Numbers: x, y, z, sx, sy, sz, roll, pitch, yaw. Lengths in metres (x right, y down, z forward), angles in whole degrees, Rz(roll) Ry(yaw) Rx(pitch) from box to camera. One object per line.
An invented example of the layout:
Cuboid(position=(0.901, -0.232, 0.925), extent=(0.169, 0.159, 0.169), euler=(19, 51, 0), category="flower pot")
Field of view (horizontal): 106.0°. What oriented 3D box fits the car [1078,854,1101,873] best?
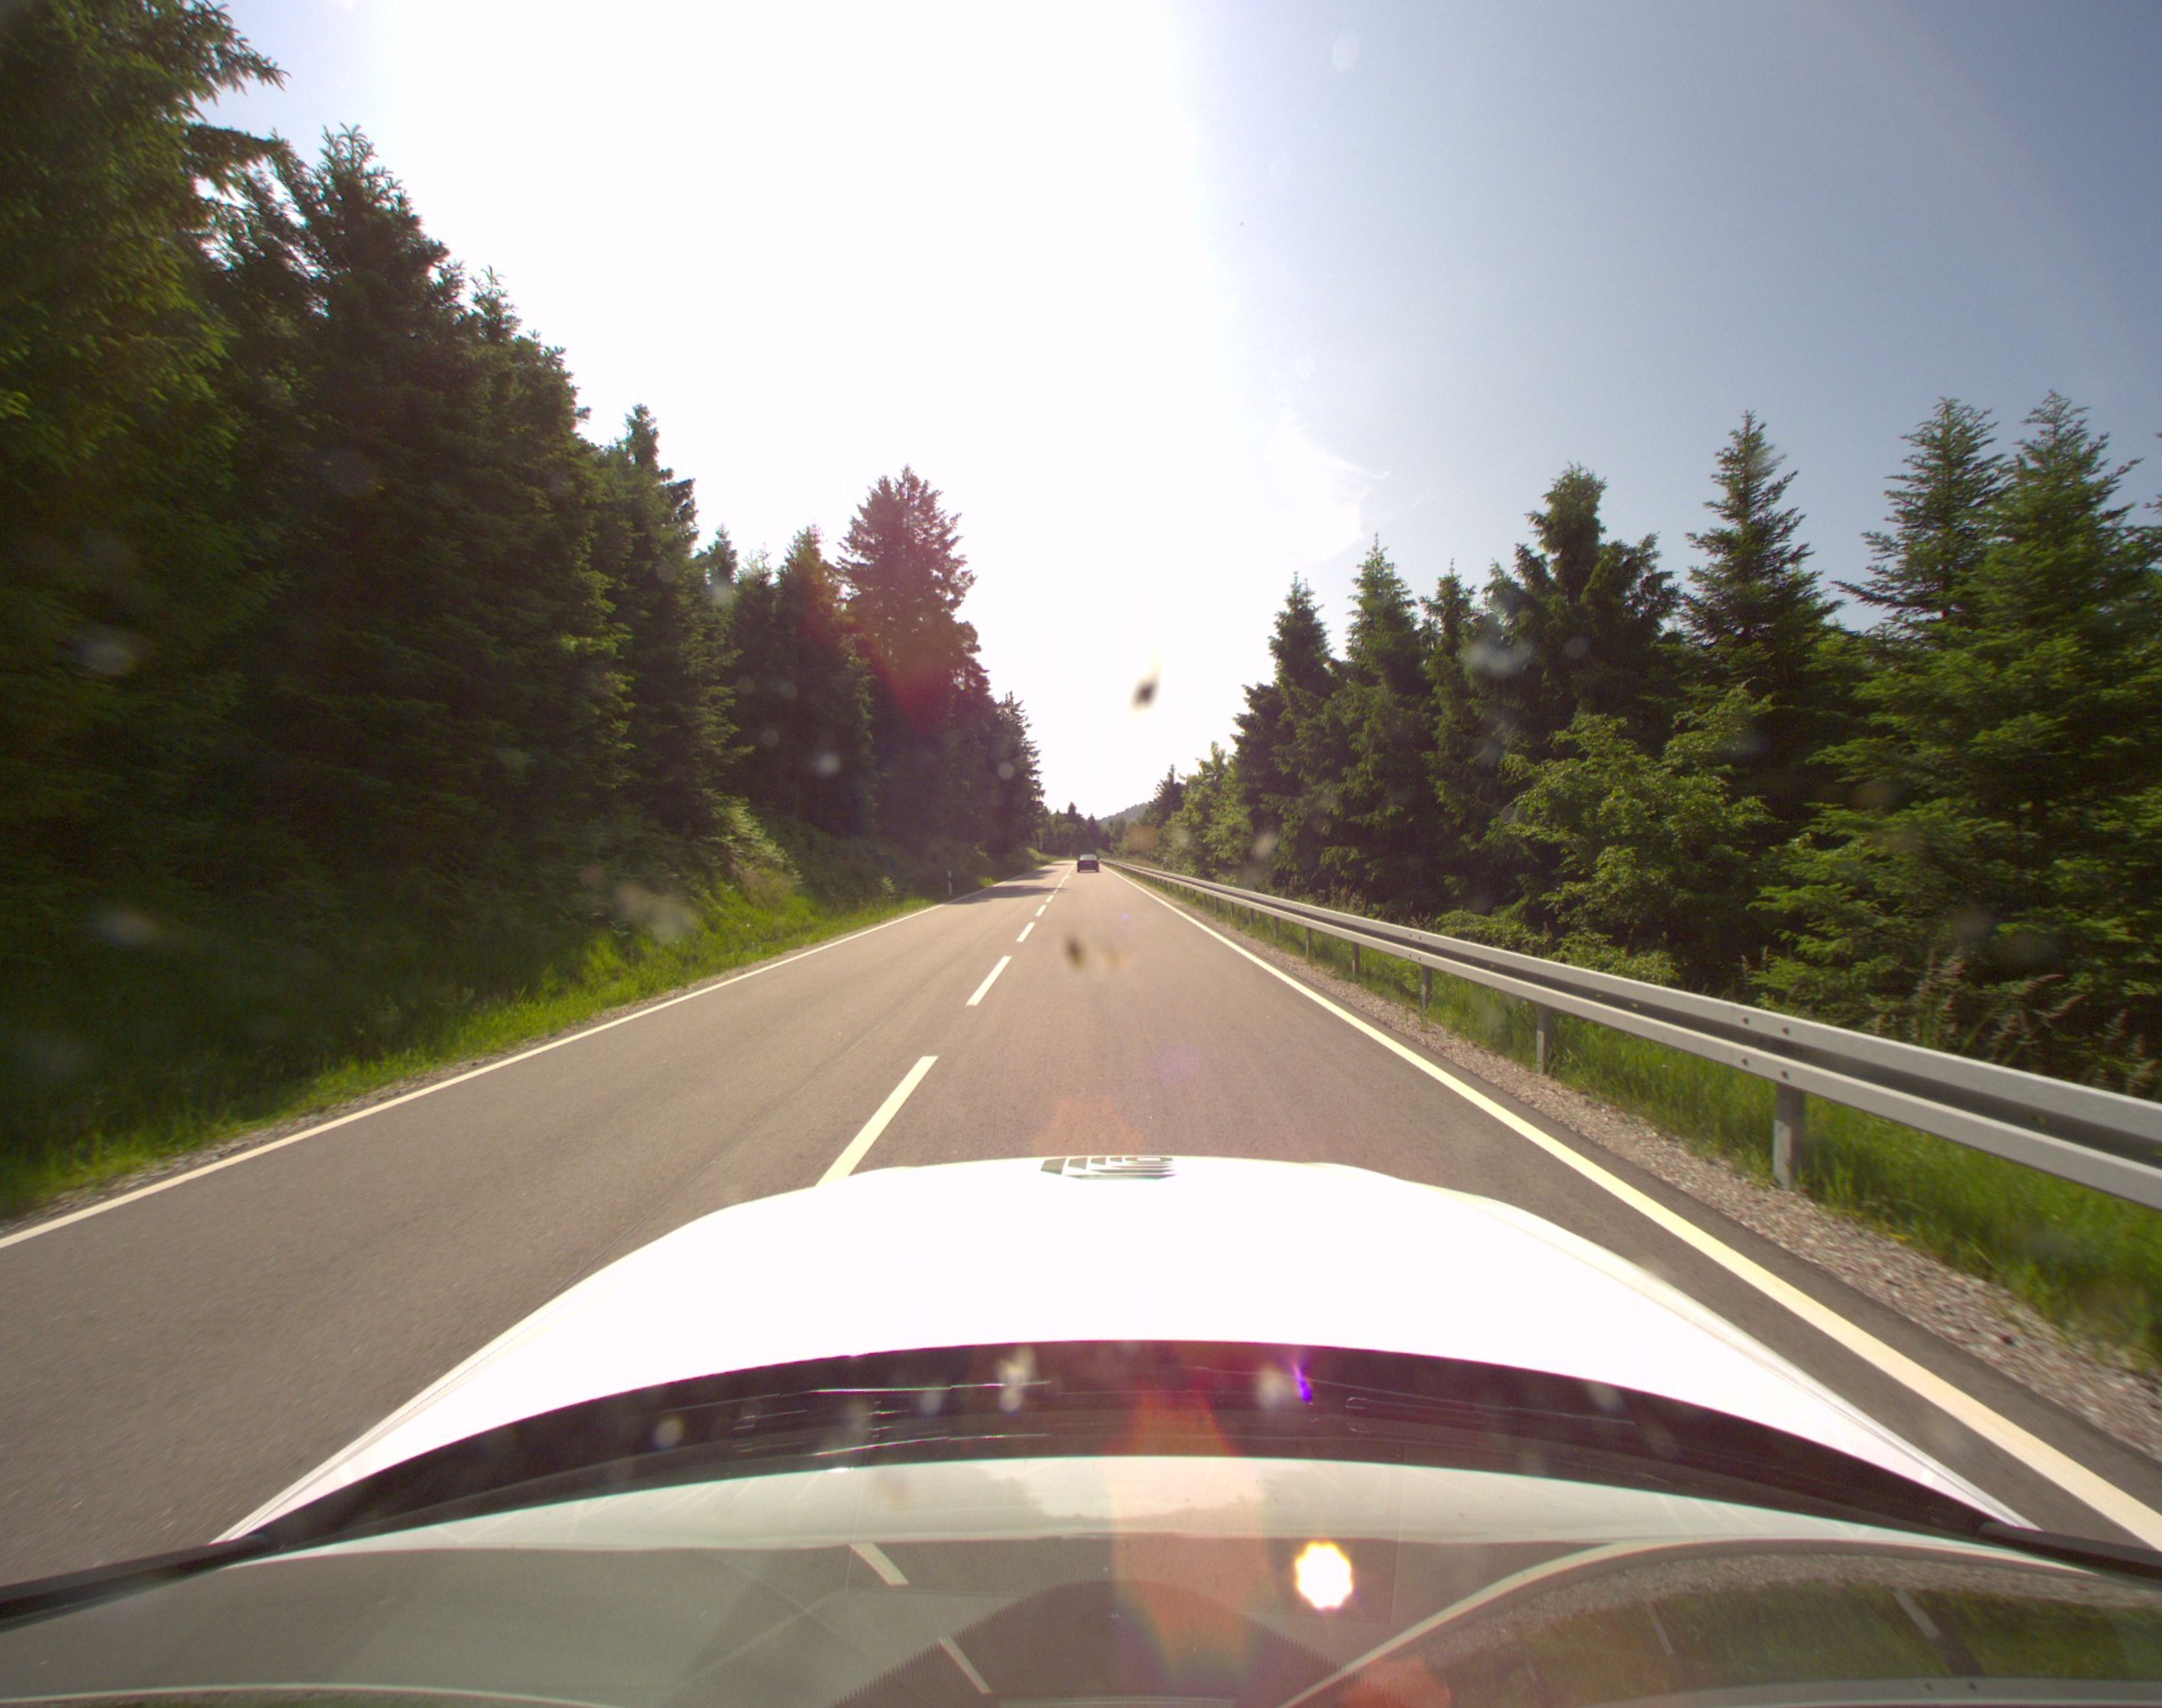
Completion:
Cuboid(position=(0.659, 0.754, 66.493), extent=(1.770, 1.442, 3.707), euler=(-2, 0, -1), category="car")
